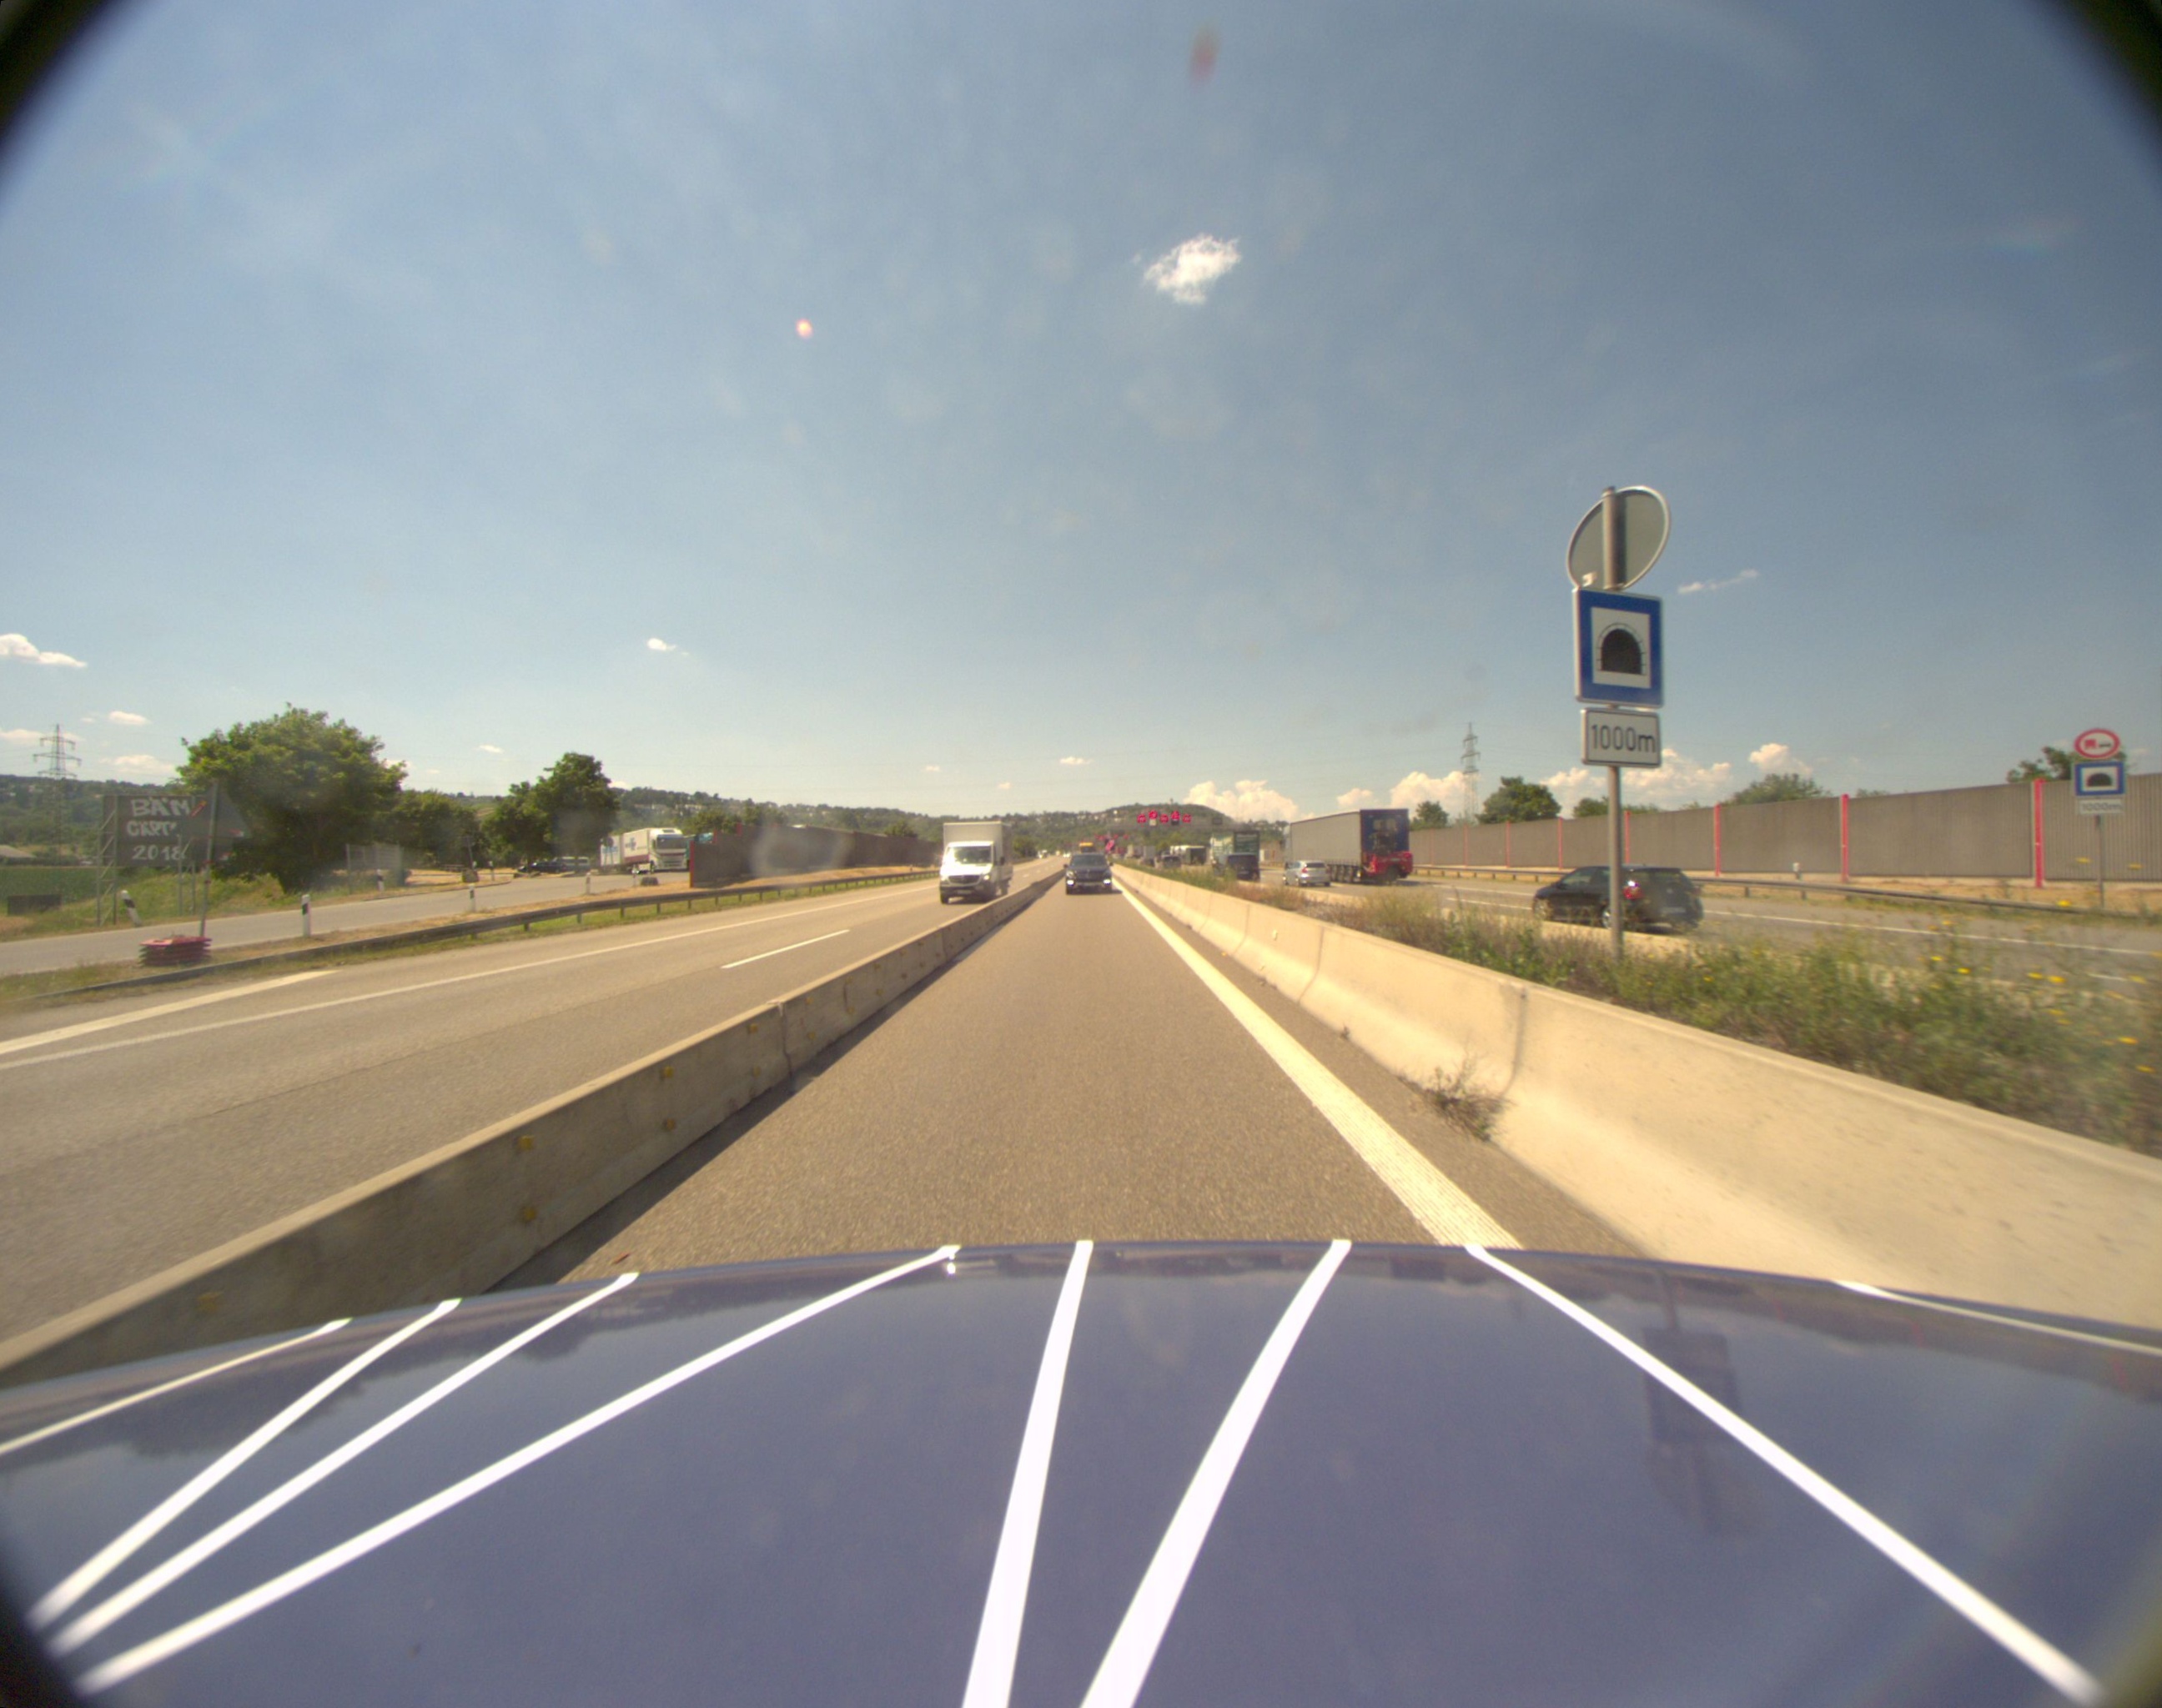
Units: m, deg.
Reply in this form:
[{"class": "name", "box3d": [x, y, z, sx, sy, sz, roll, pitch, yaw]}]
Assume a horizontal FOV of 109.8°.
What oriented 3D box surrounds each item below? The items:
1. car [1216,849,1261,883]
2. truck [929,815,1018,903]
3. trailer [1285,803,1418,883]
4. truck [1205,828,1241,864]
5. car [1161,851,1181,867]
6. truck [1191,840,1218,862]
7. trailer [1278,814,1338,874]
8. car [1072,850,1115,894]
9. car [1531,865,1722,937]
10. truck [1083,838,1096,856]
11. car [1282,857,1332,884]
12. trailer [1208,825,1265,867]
[{"class": "car", "box3d": [8.357, 0.598, 40.610, 1.654, 1.694, 3.741, -1, 0, 1]}, {"class": "truck", "box3d": [-4.079, 0.222, 30.190, 2.326, 3.049, 6.752, -2, -1, 1]}, {"class": "trailer", "box3d": [16.073, -0.615, 46.997, 2.991, 4.042, 15.162, -1, 0, 1]}, {"class": "truck", "box3d": [16.765, -0.965, 89.802, 3.231, 4.033, 5.020, -2, 1, 1]}, {"class": "car", "box3d": [8.735, 0.488, 73.961, 1.515, 1.530, 3.183, -1, 0, 1]}, {"class": "truck", "box3d": [17.192, -0.442, 106.544, 2.405, 2.856, 9.090, -1, 0, 1]}, {"class": "trailer", "box3d": [16.159, -0.676, 54.387, 2.967, 4.043, 4.456, -1, 1, 1]}, {"class": "car", "box3d": [0.550, 0.753, 32.693, 1.630, 1.711, 3.865, -3, -1, 1]}, {"class": "car", "box3d": [11.873, 0.960, 16.835, 1.737, 1.331, 3.496, 0, 0, 1]}, {"class": "truck", "box3d": [1.548, -1.237, 136.948, 2.272, 3.139, 8.186, -2, 1, 1]}, {"class": "car", "box3d": [12.154, 0.870, 41.058, 1.654, 1.331, 3.741, -1, 0, 1]}, {"class": "trailer", "box3d": [16.677, -0.885, 82.894, 3.263, 4.033, 14.389, -2, 1, 1]}]
